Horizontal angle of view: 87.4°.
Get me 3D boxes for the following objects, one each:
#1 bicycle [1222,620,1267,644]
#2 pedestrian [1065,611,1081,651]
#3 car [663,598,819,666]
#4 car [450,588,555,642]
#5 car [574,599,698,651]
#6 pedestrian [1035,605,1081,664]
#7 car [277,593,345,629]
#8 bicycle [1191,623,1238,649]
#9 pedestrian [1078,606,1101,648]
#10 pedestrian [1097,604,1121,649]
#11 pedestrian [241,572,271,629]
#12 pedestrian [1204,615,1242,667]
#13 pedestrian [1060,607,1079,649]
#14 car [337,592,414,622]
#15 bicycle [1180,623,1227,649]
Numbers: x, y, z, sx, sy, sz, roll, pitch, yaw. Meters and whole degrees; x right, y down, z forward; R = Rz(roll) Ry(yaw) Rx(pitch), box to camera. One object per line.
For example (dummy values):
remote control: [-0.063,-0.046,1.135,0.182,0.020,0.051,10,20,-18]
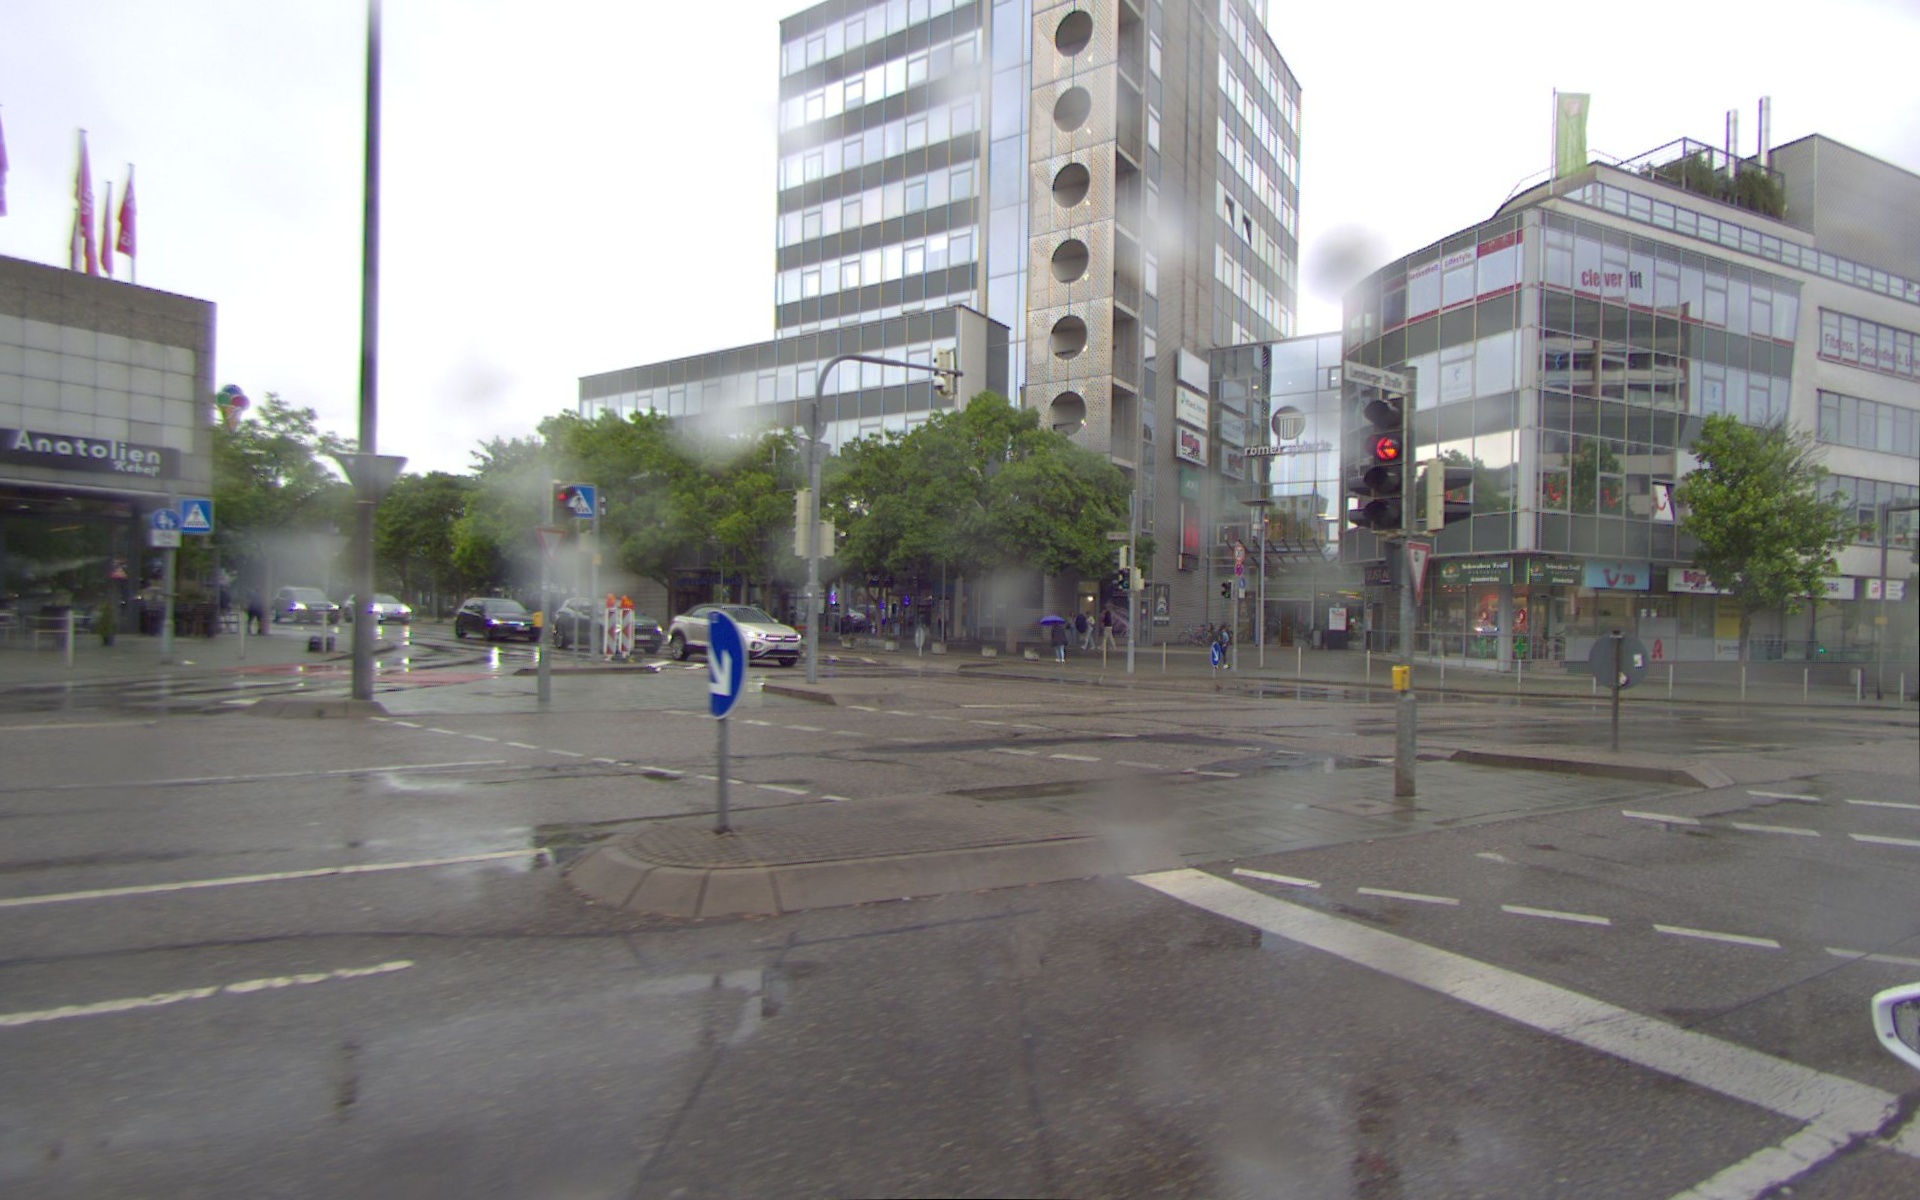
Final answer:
bicycle: [15.575,1.755,55.003,2.242,1.263,0.675,1,-1,34]
pedestrian: [5.411,1.463,48.062,0.738,1.893,0.834,1,-1,8]
car: [-5.726,0.778,26.037,4.145,1.616,1.860,0,-1,42]
car: [-16.139,0.519,35.354,3.941,1.616,1.861,4,1,42]
car: [-10.097,0.763,31.175,4.000,1.439,1.860,1,-1,42]
pedestrian: [3.460,1.220,35.625,1.147,2.040,1.323,1,0,-18]
car: [-31.060,0.523,48.035,3.941,1.616,1.708,1,0,41]
bicycle: [13.036,1.827,51.466,2.242,1.263,0.675,0,-1,34]
pedestrian: [6.024,1.253,46.771,0.744,1.893,0.828,1,-1,-27]
pedestrian: [6.869,1.210,46.310,0.759,2.040,0.705,1,0,-42]
pedestrian: [-24.120,0.011,34.420,0.801,1.919,0.712,1,-1,-37]
pedestrian: [9.588,1.489,36.605,1.010,1.843,0.843,2,-1,-24]
pedestrian: [5.080,1.286,46.494,0.738,1.893,0.834,1,-1,12]
car: [-29.778,0.347,51.183,3.989,1.439,1.768,1,-2,33]
bicycle: [12.333,1.830,50.939,2.242,1.263,0.675,1,-1,34]
